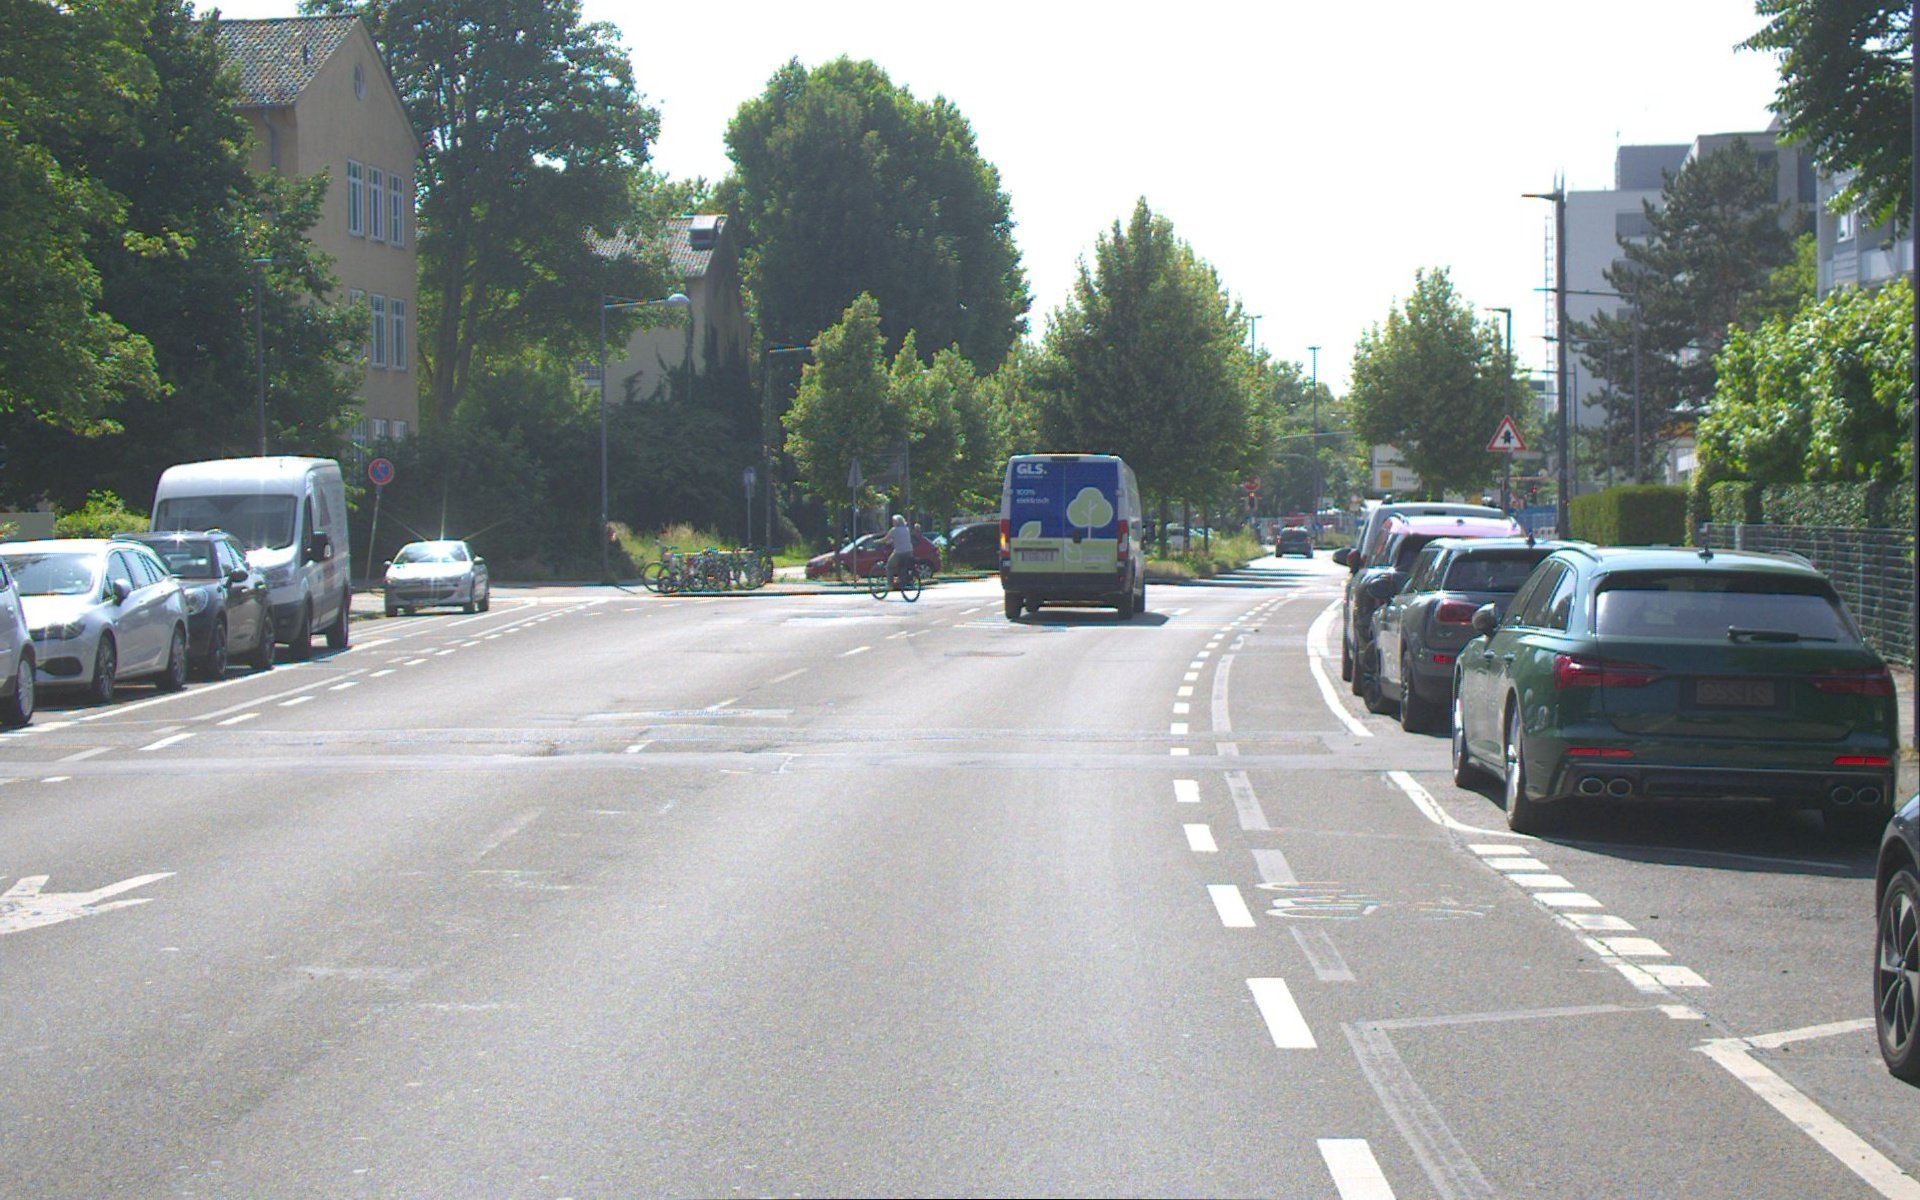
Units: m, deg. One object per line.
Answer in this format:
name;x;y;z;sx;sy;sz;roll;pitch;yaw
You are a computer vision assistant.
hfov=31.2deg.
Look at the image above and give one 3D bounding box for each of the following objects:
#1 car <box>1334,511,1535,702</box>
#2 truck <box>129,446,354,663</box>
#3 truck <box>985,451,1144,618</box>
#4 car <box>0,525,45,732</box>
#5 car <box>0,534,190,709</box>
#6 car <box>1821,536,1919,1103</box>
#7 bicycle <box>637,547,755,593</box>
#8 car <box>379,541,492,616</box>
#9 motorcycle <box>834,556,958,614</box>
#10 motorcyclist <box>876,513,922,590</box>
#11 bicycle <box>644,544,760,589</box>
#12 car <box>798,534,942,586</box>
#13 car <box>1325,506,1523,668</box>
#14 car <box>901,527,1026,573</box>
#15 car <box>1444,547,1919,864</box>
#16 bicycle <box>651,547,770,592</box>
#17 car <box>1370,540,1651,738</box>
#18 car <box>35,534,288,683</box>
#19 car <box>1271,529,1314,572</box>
car;4.391;0.010;32.218;1.701;1.671;3.774;0;1;5
truck;-8.898;-0.600;43.040;2.080;2.528;5.468;-1;1;-5
truck;1.734;-1.053;55.406;2.273;2.562;4.391;0;1;5
car;-8.312;0.234;25.943;1.835;1.590;3.775;-1;1;-1
car;-8.499;0.159;31.774;1.835;1.491;3.654;0;1;2
car;3.433;0.640;8.343;1.709;1.509;3.902;2;1;1
bicycle;-6.222;-0.704;81.023;2.687;1.044;1.026;-1;1;-10
car;-9.836;-0.427;64.697;1.754;1.339;3.654;-1;1;-3
motorcycle;-1.285;-0.310;67.837;1.056;1.118;2.992;-1;1;-32
motorcyclist;-1.201;-0.957;67.586;0.672;1.513;0.652;-1;1;-29
bicycle;-6.168;-0.813;82.151;2.687;1.044;1.026;-1;1;-10
car;-2.638;-1.173;100.171;3.986;1.485;1.629;-1;1;-10
car;5.014;-0.178;37.545;1.700;1.671;3.775;0;1;1
car;0.101;-1.699;116.721;3.986;1.485;1.629;-1;1;-10
car;3.673;0.455;18.161;1.785;1.394;4.324;2;1;3
bicycle;-5.809;-0.712;79.938;2.664;1.023;1.026;-1;1;-10
car;4.191;0.264;26.709;1.785;1.395;4.122;1;0;4
car;-8.519;0.051;36.977;1.754;1.491;3.654;-1;1;2
car;16.109;-2.410;166.813;1.908;2.007;4.000;-1;1;3
